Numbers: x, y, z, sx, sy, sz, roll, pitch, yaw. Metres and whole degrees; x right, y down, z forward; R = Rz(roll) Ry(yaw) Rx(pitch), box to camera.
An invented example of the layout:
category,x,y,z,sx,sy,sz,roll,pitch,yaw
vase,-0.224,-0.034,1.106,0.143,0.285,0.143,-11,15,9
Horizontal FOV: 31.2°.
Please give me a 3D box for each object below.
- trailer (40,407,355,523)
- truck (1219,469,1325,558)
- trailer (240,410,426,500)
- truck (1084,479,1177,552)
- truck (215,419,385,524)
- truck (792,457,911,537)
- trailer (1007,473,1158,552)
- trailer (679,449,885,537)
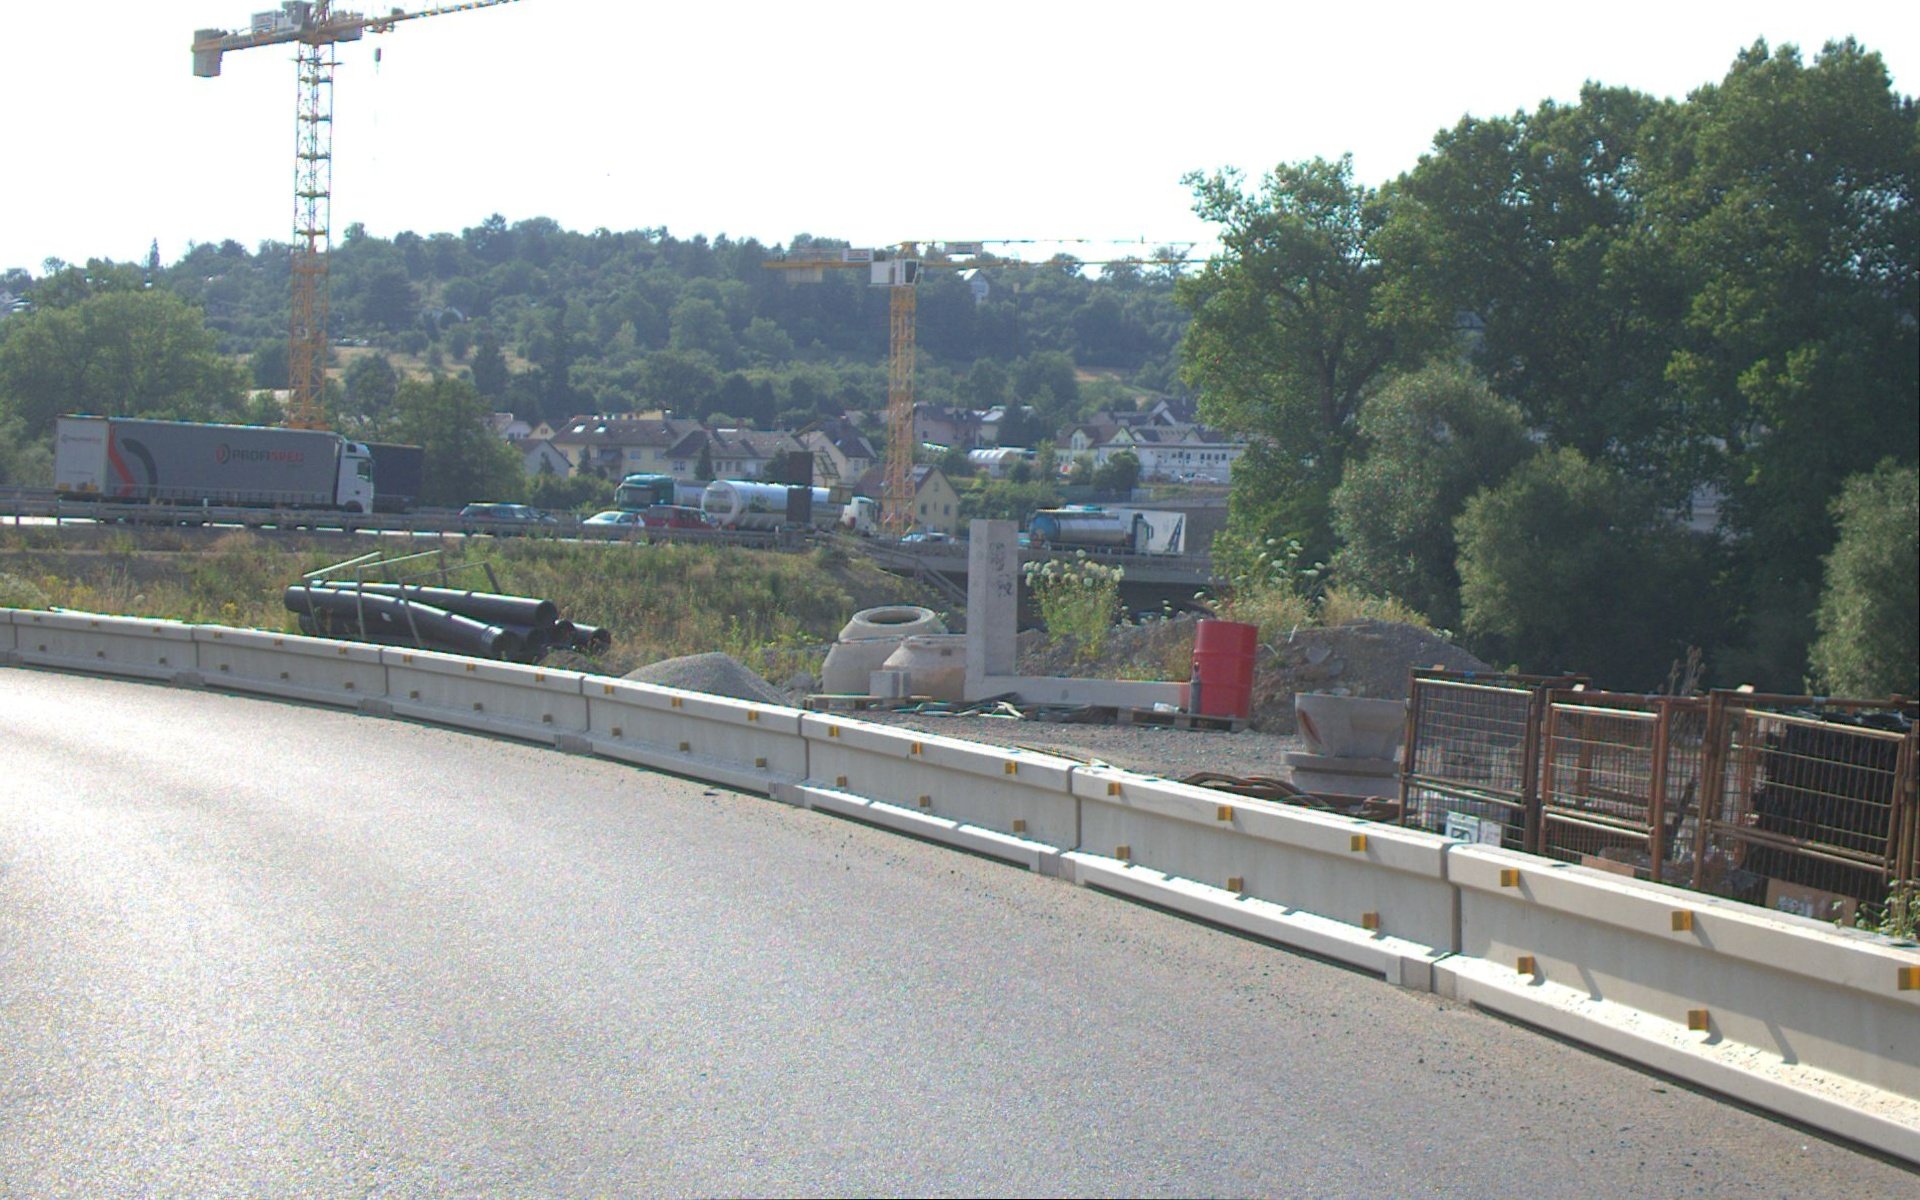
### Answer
category,x,y,z,sx,sy,sz,roll,pitch,yaw
trailer,-30.012,-5.258,136.557,3.390,3.983,14.722,3,1,28
truck,21.607,-5.920,237.737,3.169,5.850,10.658,2,1,29
trailer,-28.801,-6.642,158.489,3.011,3.739,9.555,2,1,29
truck,10.606,-5.247,213.554,3.103,4.270,6.614,3,1,28
truck,-27.204,-5.273,141.931,3.348,3.983,6.614,3,1,28
truck,-5.727,-5.443,182.814,3.395,3.983,6.614,3,1,28
trailer,7.514,-5.232,207.649,3.108,4.299,14.230,3,1,28
trailer,-8.958,-5.416,176.645,3.390,3.983,14.722,3,1,28
